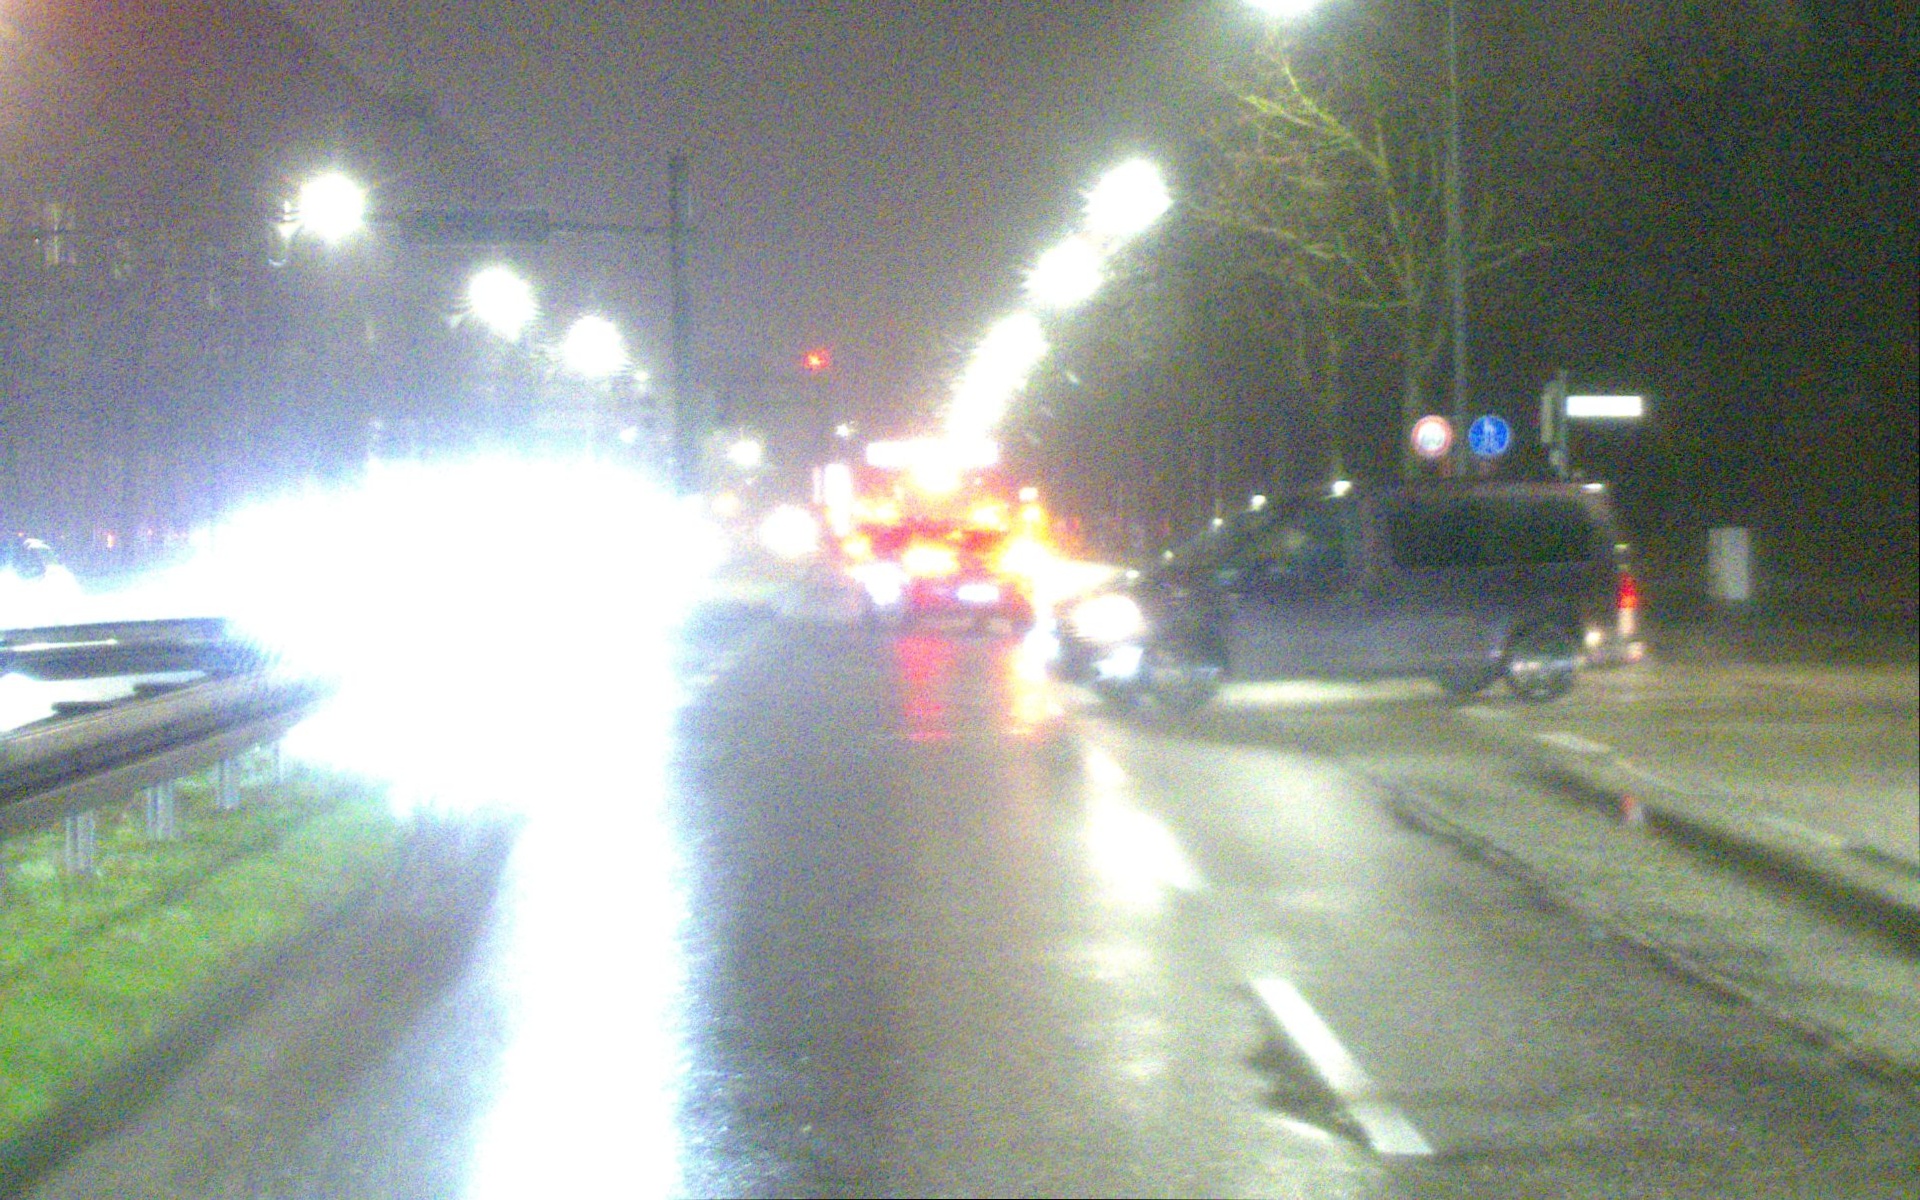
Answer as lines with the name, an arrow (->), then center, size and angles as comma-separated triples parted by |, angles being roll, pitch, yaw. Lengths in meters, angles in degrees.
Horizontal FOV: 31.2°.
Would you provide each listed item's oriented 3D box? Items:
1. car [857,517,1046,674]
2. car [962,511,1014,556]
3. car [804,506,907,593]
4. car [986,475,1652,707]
car -> -0.176, -0.083, 46.992 | 1.993, 2.007, 4.634 | 1, 1, -7
car -> 1.096, -2.673, 138.591 | 1.993, 1.753, 4.000 | 1, 1, -1
car -> -2.119, -1.025, 70.734 | 1.993, 1.700, 4.633 | 1, 1, -1
car -> 2.842, -0.060, 27.541 | 4.901, 1.735, 1.972 | 1, 1, -14
